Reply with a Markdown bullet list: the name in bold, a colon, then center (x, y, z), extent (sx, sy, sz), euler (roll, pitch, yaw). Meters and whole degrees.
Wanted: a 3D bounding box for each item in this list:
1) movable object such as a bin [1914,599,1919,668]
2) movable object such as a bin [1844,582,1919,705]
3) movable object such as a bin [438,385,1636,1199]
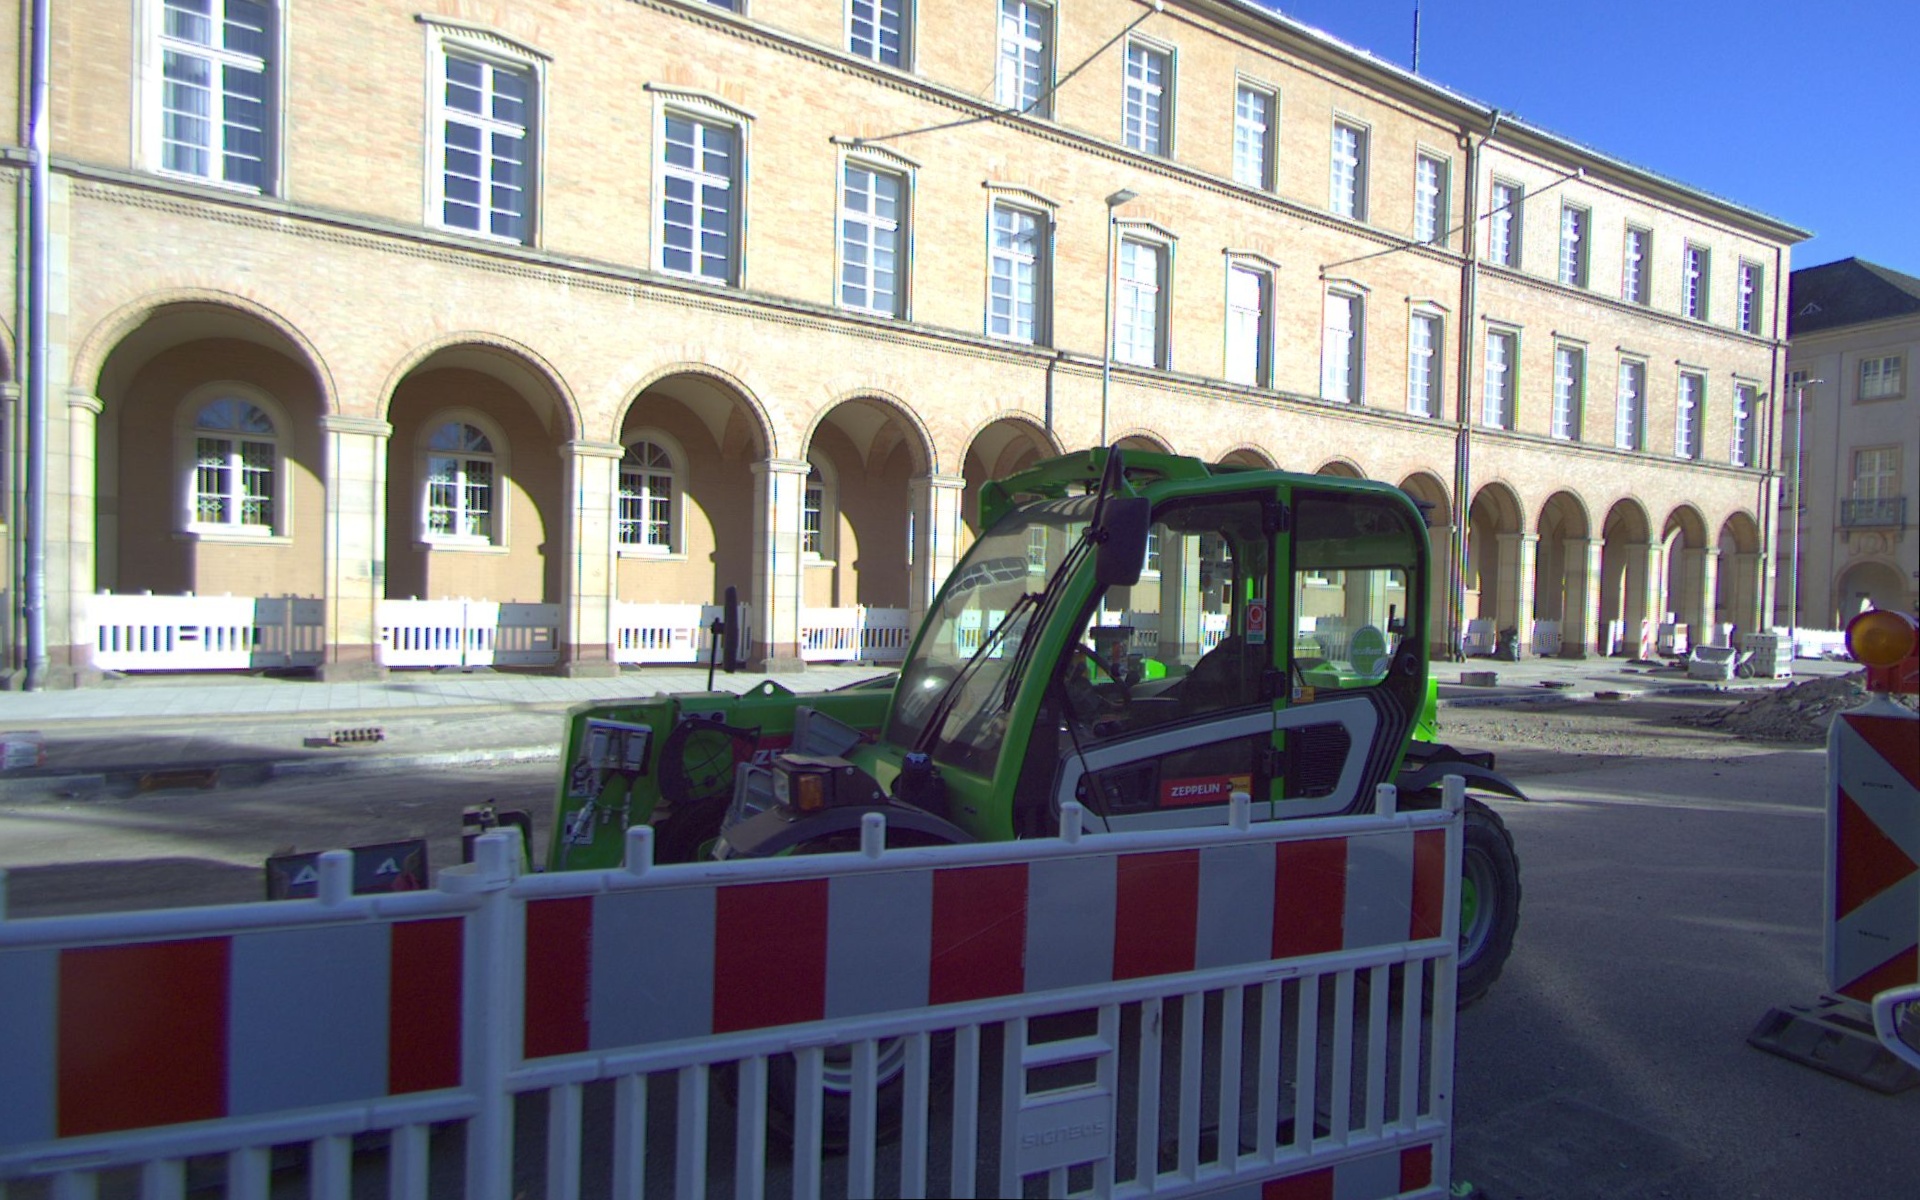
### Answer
- **movable object such as a bin**: center (35.525, 1.217, 34.516), extent (4.399, 2.380, 2.539), euler (1, 0, -25)
- **movable object such as a bin**: center (21.623, 0.891, 21.830), extent (4.557, 2.509, 2.067), euler (0, 1, -27)
- **movable object such as a bin**: center (0.360, 0.515, 4.040), extent (4.276, 1.975, 2.043), euler (0, 1, -26)
